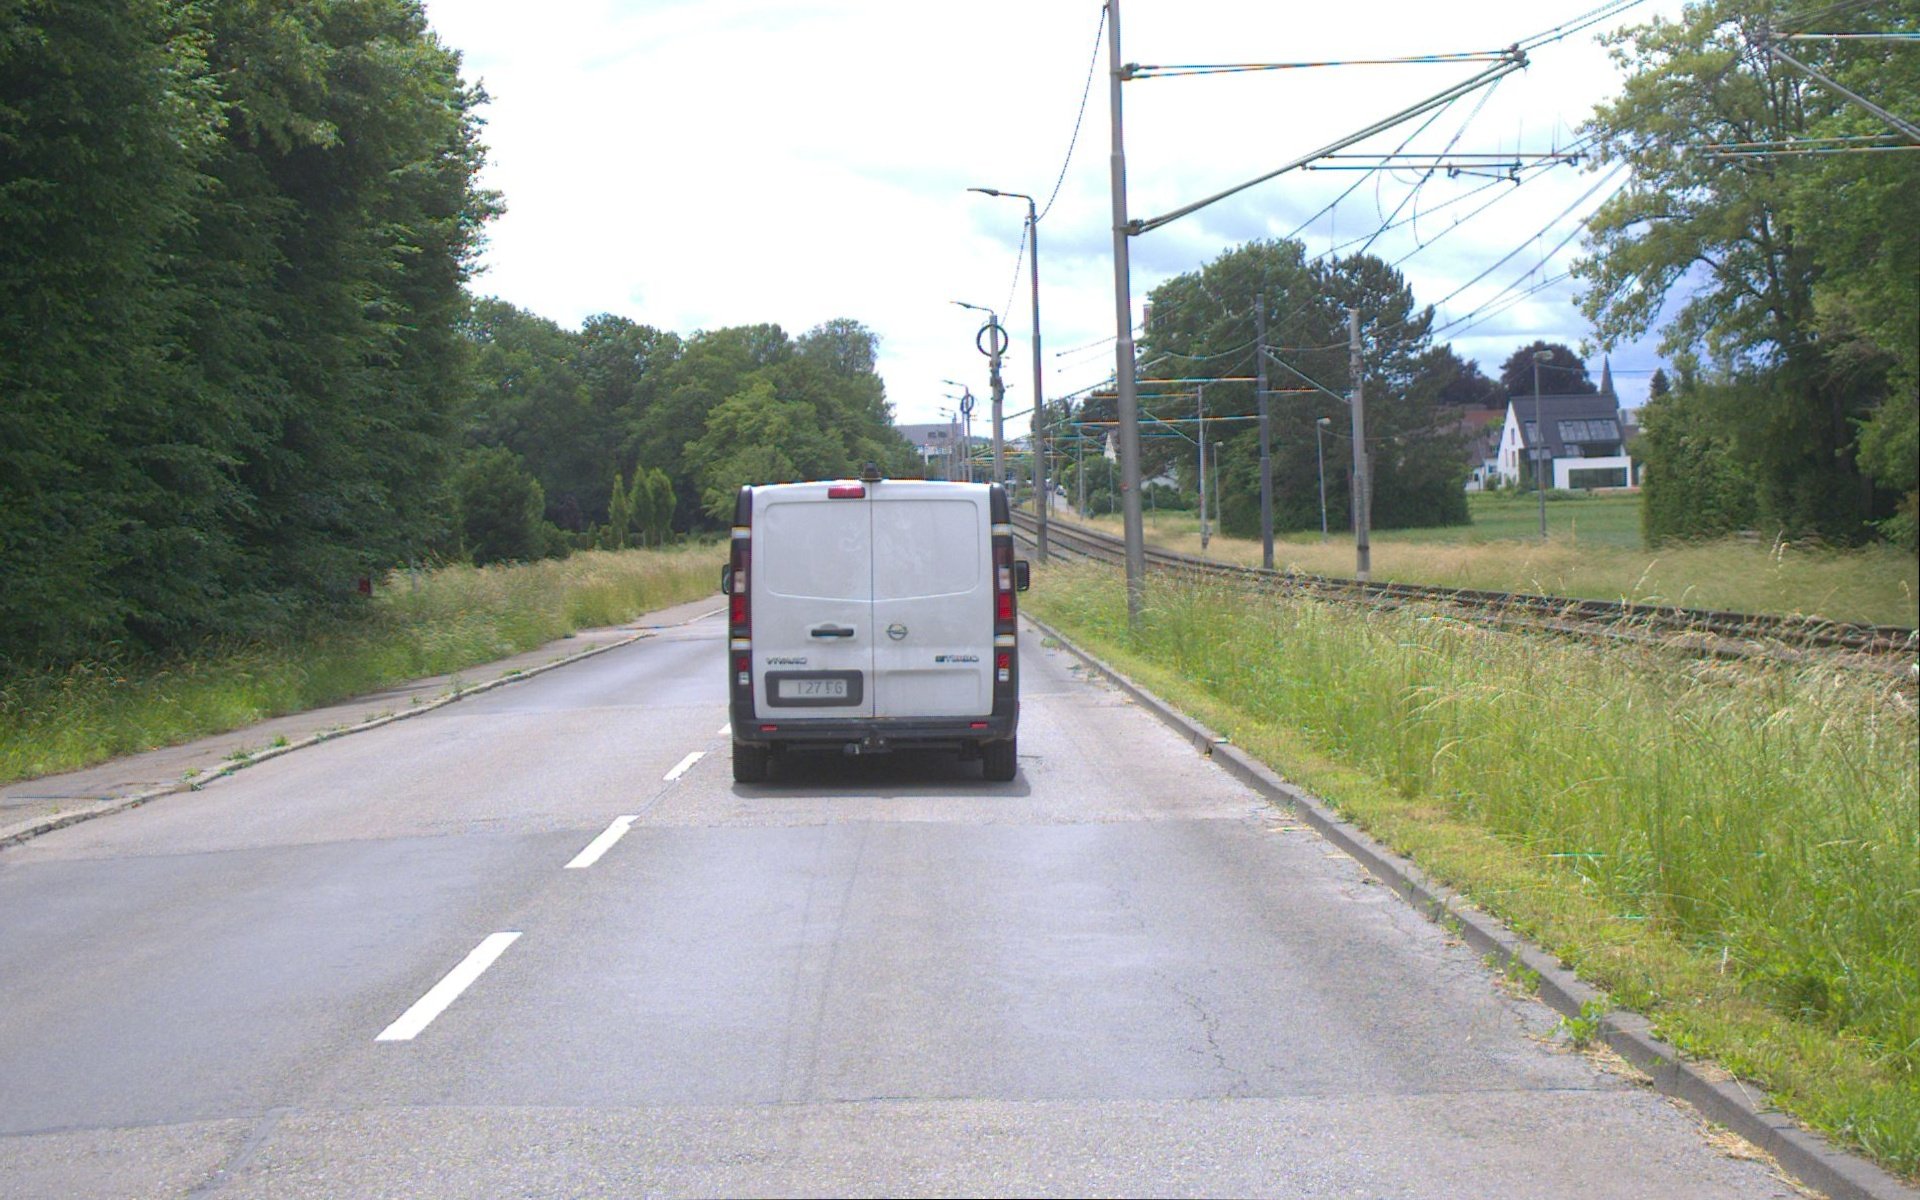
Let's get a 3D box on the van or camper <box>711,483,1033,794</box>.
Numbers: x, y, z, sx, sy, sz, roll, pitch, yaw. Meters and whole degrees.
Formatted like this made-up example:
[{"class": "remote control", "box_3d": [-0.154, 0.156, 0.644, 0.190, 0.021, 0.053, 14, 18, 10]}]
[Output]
[{"class": "van or camper", "box_3d": [-0.497, 0.165, 23.298, 1.942, 1.890, 4.285, 0, 2, 2]}]
